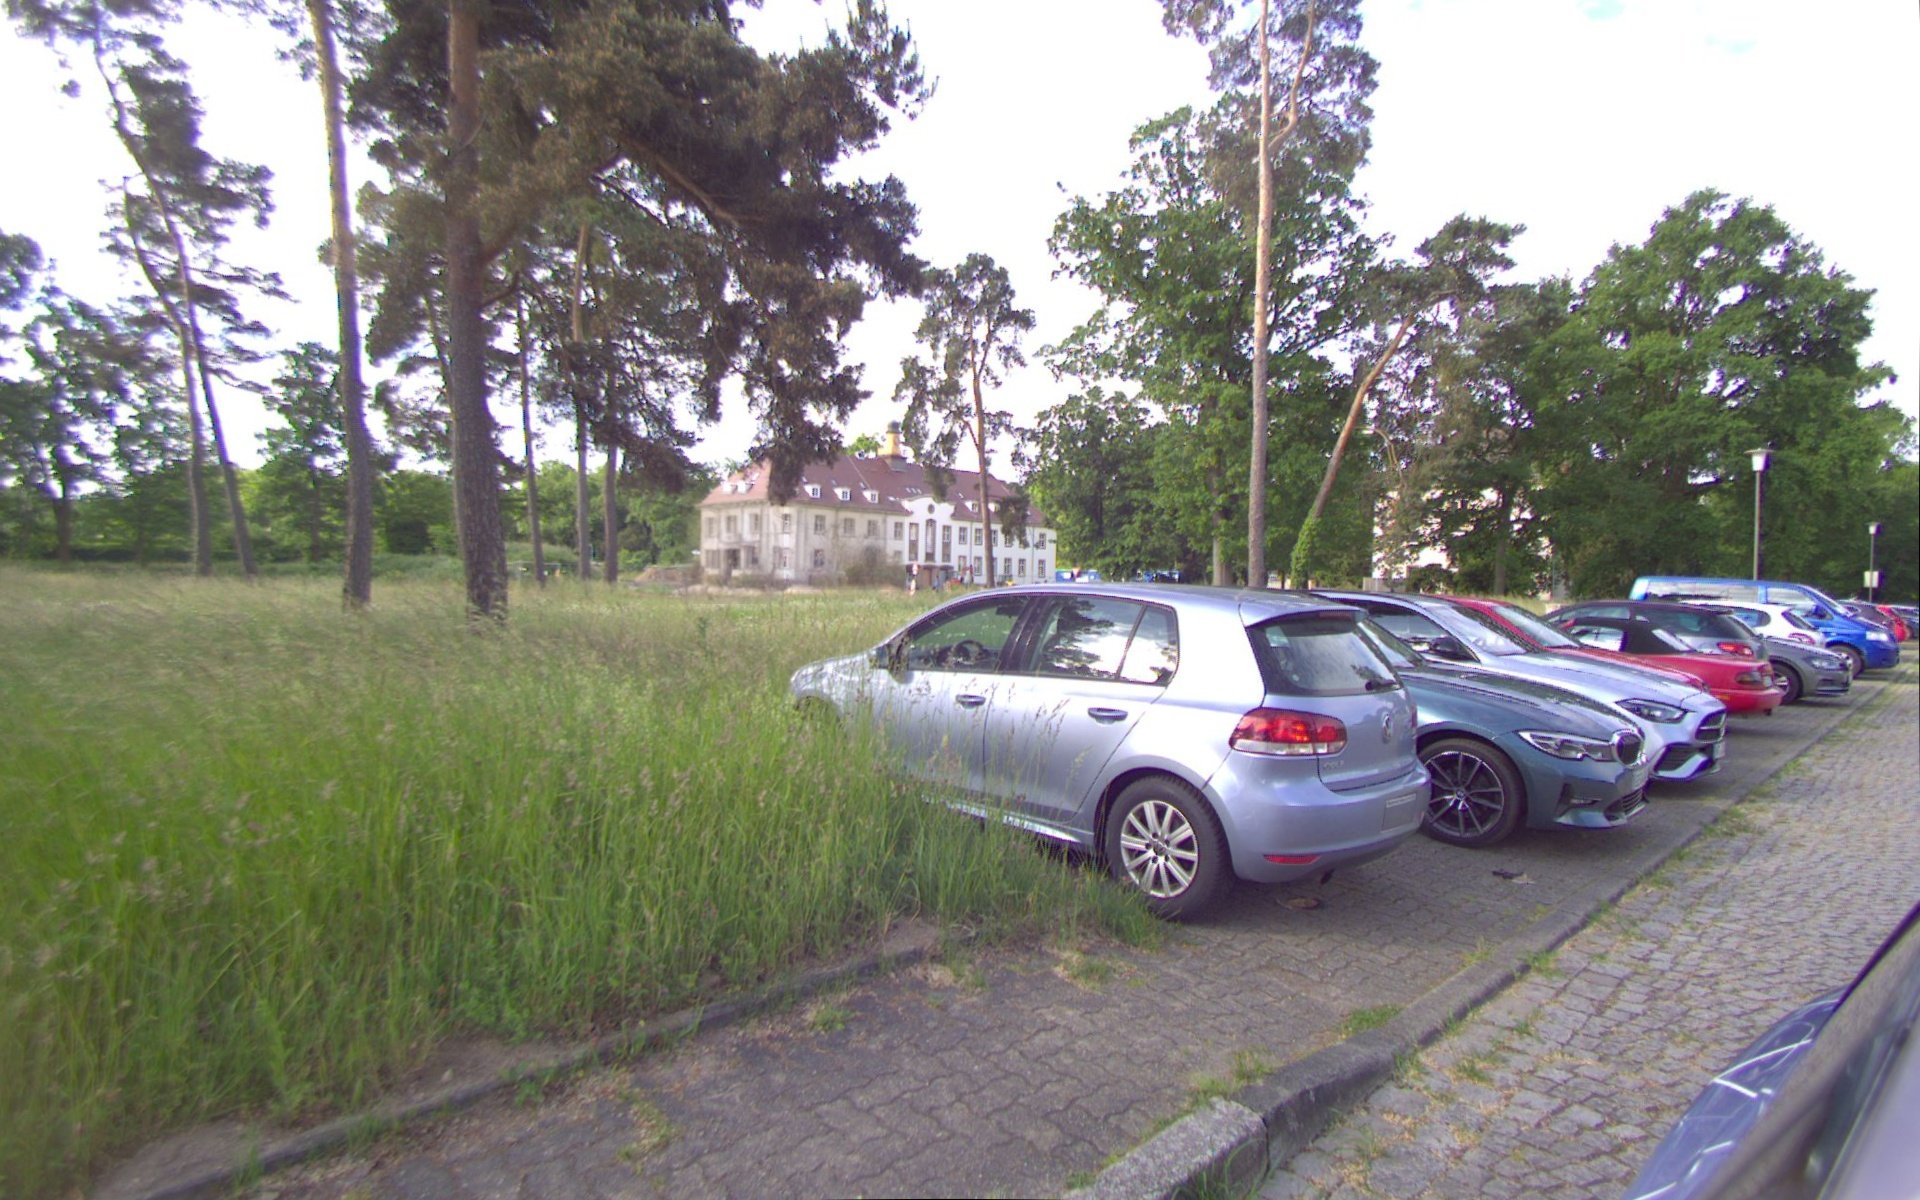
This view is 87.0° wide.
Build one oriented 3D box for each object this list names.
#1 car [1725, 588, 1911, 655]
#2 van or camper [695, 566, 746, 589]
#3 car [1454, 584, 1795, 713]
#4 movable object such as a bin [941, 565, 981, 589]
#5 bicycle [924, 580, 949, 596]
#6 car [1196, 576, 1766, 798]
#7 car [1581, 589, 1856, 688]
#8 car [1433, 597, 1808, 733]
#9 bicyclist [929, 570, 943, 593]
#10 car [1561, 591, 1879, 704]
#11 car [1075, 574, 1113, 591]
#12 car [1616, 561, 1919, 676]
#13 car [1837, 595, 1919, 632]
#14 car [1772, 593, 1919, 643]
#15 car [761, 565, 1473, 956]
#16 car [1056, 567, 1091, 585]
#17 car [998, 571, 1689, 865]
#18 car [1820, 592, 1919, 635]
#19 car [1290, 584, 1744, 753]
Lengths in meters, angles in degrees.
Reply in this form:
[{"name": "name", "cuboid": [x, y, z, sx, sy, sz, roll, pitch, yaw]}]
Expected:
[{"name": "car", "cuboid": [23.659, 0.537, 28.002, 3.828, 1.621, 1.556, 2, 1, 43]}, {"name": "van or camper", "cuboid": [-25.192, -2.367, 106.187, 6.057, 2.250, 1.971, 2, 2, 40]}, {"name": "car", "cuboid": [9.441, 0.586, 14.598, 1.577, 1.522, 3.832, 0, 2, -43]}, {"name": "movable object such as a bin", "cuboid": [0.103, -2.793, 124.474, 1.992, 2.802, 5.126, 2, 2, 41]}, {"name": "bicycle", "cuboid": [-1.775, -0.923, 77.654, 1.946, 1.223, 0.638, 0, 1, -41]}, {"name": "car", "cuboid": [4.539, 0.581, 9.343, 1.738, 1.446, 4.330, 0, 2, -44]}, {"name": "car", "cuboid": [13.677, 0.614, 18.421, 1.554, 1.517, 3.759, 0, 2, -41]}, {"name": "car", "cuboid": [7.962, 0.691, 12.423, 1.580, 1.303, 3.552, 2, 1, -42]}, {"name": "bicyclist", "cuboid": [-1.817, -1.408, 77.592, 0.830, 1.756, 0.667, 0, -1, -41]}, {"name": "car", "cuboid": [11.920, 0.646, 16.068, 1.614, 1.483, 3.779, 0, 2, -41]}, {"name": "car", "cuboid": [14.159, -1.877, 107.229, 3.867, 1.704, 1.847, 0, 3, -41]}, {"name": "car", "cuboid": [17.539, 0.292, 22.108, 2.025, 2.047, 4.951, 0, 3, -42]}, {"name": "car", "cuboid": [42.013, 0.616, 45.349, 1.643, 1.548, 3.838, 0, 2, -38]}, {"name": "car", "cuboid": [30.818, 0.572, 35.250, 3.828, 1.544, 1.556, 3, 2, 43]}, {"name": "car", "cuboid": [0.632, 0.573, 5.845, 3.844, 1.489, 1.615, 2, 2, 45]}, {"name": "car", "cuboid": [14.092, -2.978, 125.952, 3.927, 2.039, 2.218, 0, 1, -39]}, {"name": "car", "cuboid": [2.554, 0.579, 7.597, 4.515, 1.501, 1.779, 3, 2, 44]}, {"name": "car", "cuboid": [38.468, 0.546, 42.104, 1.552, 1.638, 3.838, 0, 2, -38]}, {"name": "car", "cuboid": [5.994, 0.597, 11.281, 1.690, 1.441, 4.113, 0, 2, -42]}]
